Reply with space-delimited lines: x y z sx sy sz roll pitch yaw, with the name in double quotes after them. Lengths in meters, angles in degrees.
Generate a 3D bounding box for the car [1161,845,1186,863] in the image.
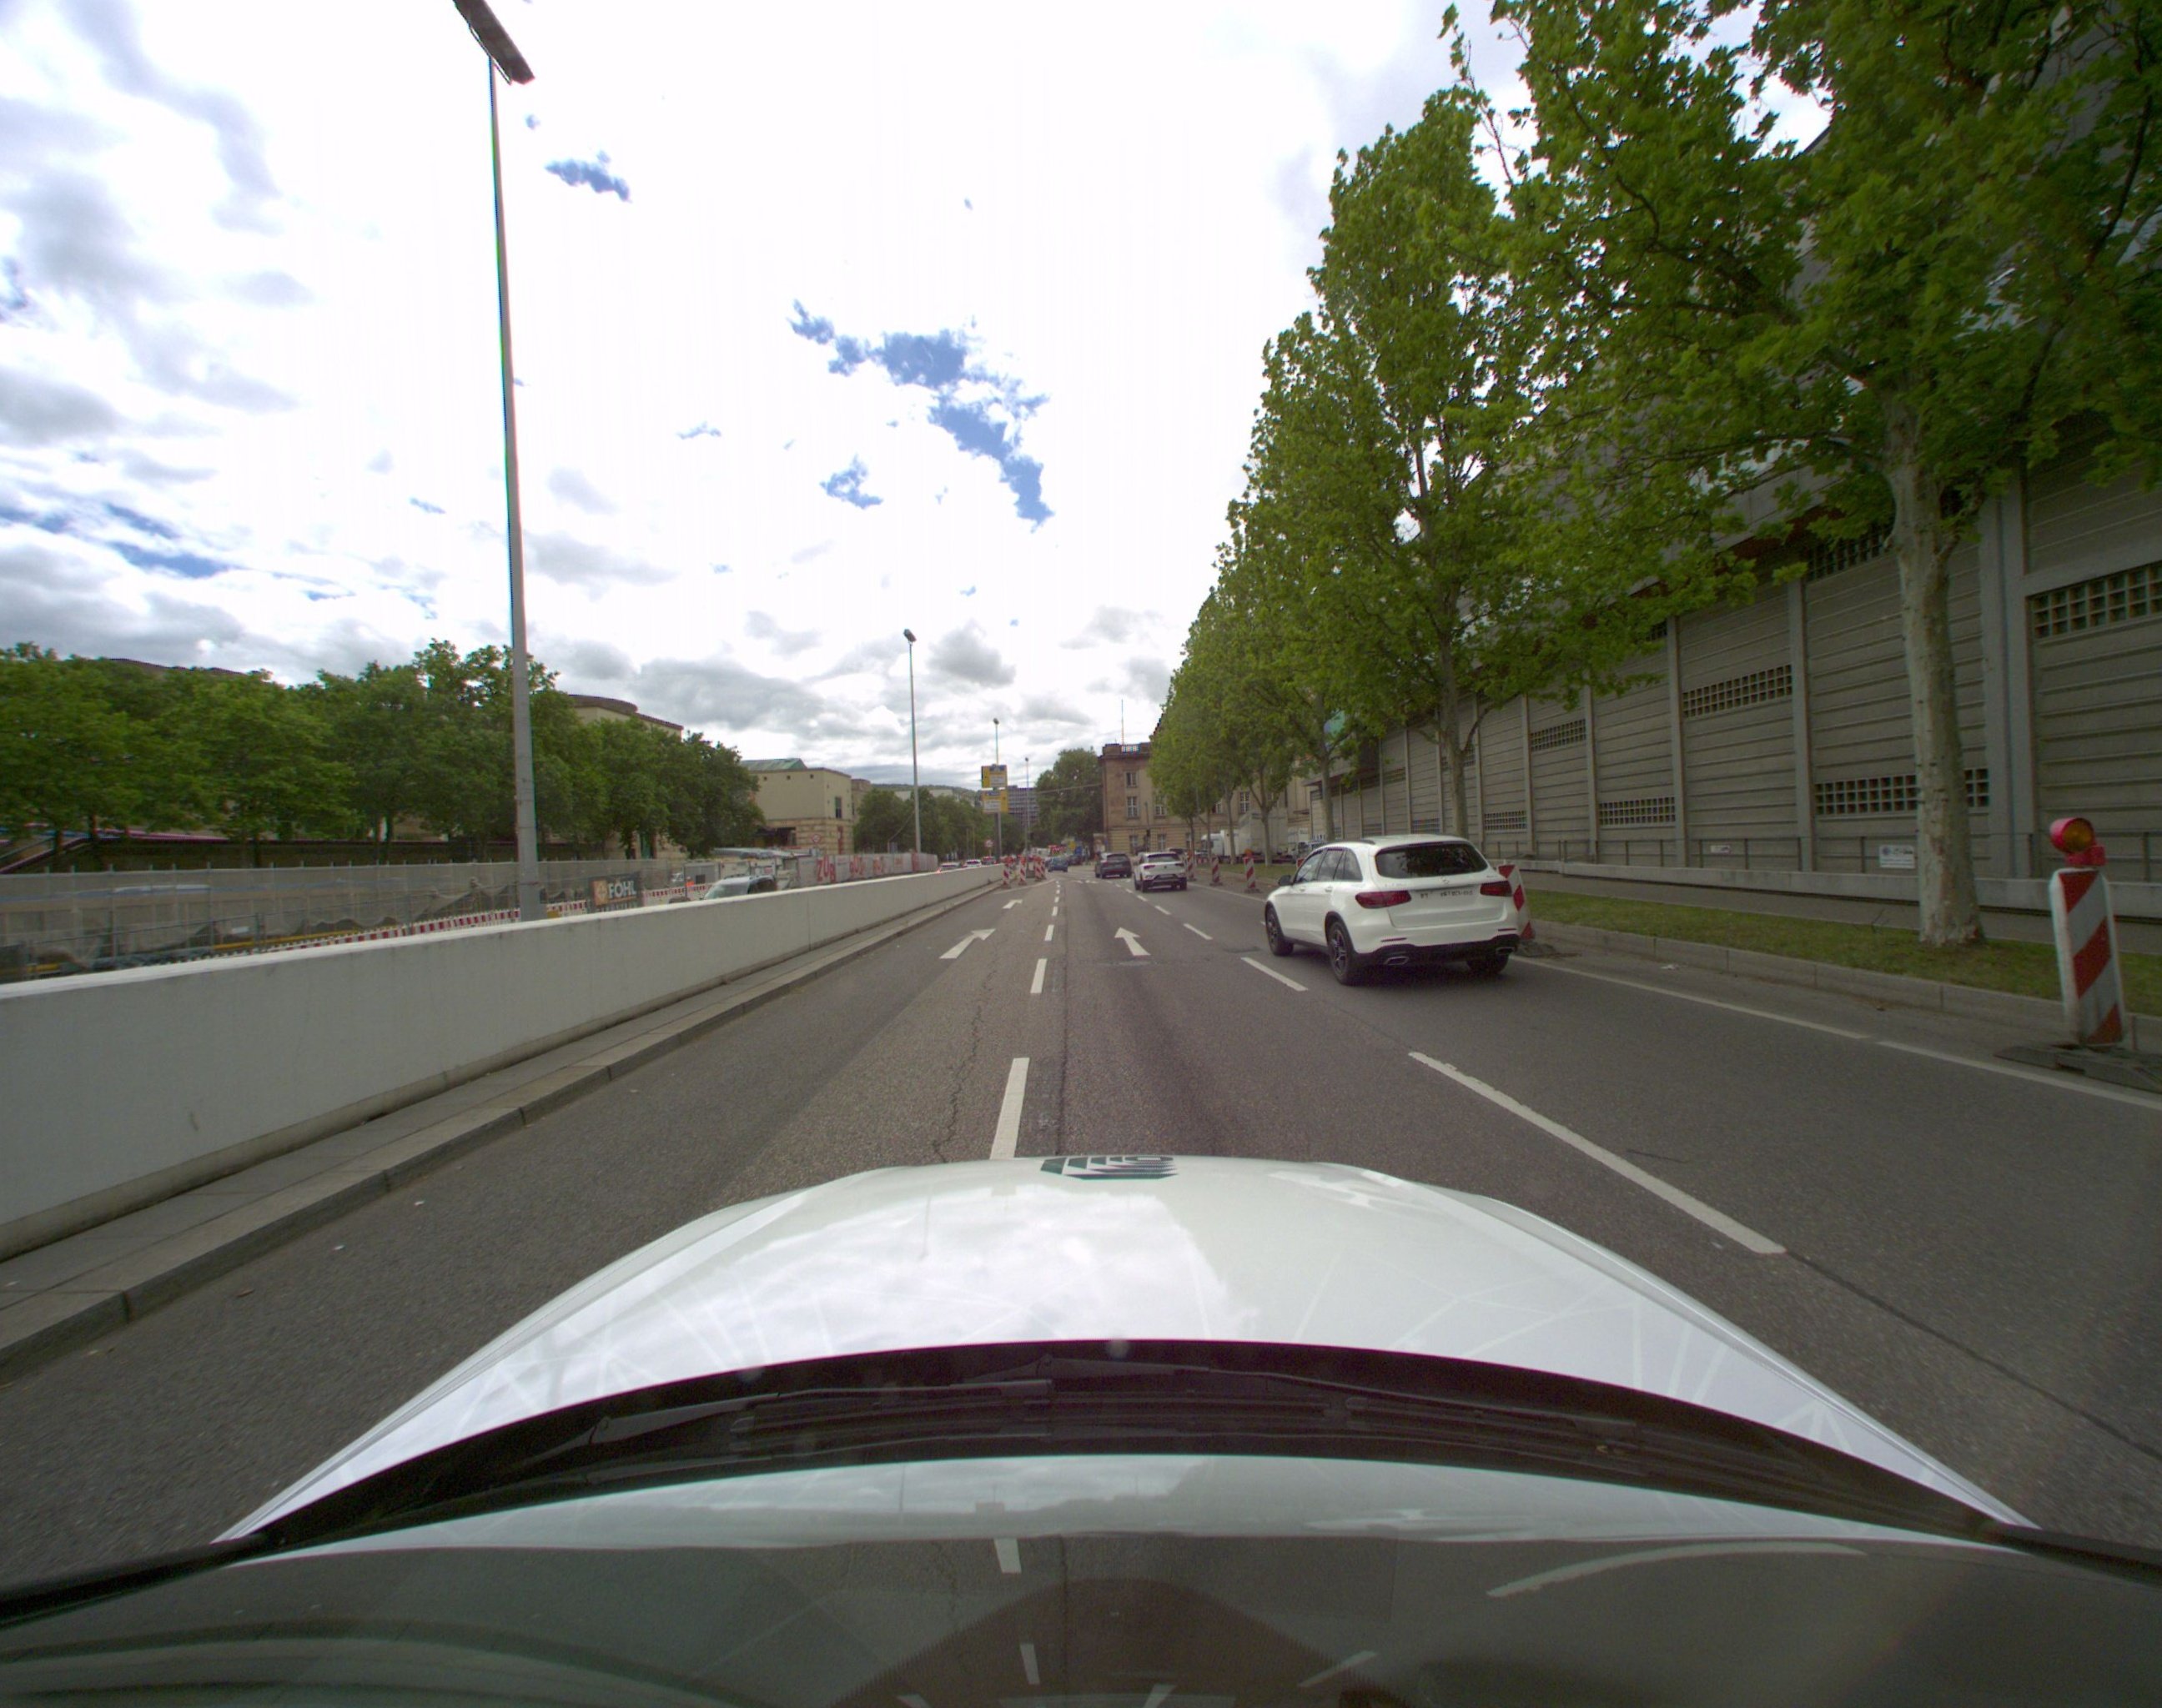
8.437 0.040 74.515 1.745 1.568 4.330 -2 -1 0 "car"

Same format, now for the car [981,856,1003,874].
-8.906 1.102 81.866 1.745 1.567 3.377 -5 0 0 "car"

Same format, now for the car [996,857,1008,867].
-12.518 1.258 128.925 1.747 1.568 4.326 -2 0 -3 "car"

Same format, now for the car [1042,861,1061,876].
-3.619 1.789 99.893 1.815 1.741 4.484 -3 -2 4 "car"

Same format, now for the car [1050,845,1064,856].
-5.471 -0.733 187.821 2.571 2.374 5.532 -3 0 4 "car"

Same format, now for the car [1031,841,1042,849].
-14.271 -2.754 260.480 2.571 2.374 5.532 -3 0 4 "car"

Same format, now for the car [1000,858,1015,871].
-9.955 1.423 110.687 1.747 1.568 4.325 -2 0 -4 "car"

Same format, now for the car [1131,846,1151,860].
6.983 -0.086 94.933 1.850 1.568 4.330 -2 -1 0 "car"

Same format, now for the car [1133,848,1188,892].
3.179 0.610 33.478 1.745 1.567 4.331 -5 0 0 "car"

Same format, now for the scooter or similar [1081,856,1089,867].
0.502 0.987 104.412 1.009 1.345 1.445 -3 -2 1 "scooter or similar"

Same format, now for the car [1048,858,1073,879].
-1.883 1.359 76.849 1.815 1.740 4.486 -3 0 5 "car"

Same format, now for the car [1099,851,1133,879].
2.281 0.675 53.576 1.818 1.567 4.477 -5 1 -1 "car"

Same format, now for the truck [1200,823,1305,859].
17.272 -1.272 82.401 9.998 3.051 2.568 -3 -1 -1 "truck"

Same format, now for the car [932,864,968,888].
-9.181 1.518 57.266 1.745 1.568 4.331 -2 0 0 "car"

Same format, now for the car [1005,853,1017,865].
-12.381 0.899 144.885 1.989 2.013 3.995 -3 2 -4 "car"

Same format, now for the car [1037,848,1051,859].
-8.503 -0.086 186.225 2.571 2.374 5.532 -3 0 4 "car"

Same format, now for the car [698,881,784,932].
-12.857 1.938 31.019 1.745 1.567 3.377 -5 0 0 "car"

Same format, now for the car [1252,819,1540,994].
3.697 0.548 10.574 1.806 1.642 4.550 -5 0 -1 "car"

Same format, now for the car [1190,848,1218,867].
11.185 0.333 74.120 1.850 1.568 4.330 -2 -1 0 "car"

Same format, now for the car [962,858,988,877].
-9.016 1.125 69.627 1.745 1.568 3.377 -2 0 0 "car"
